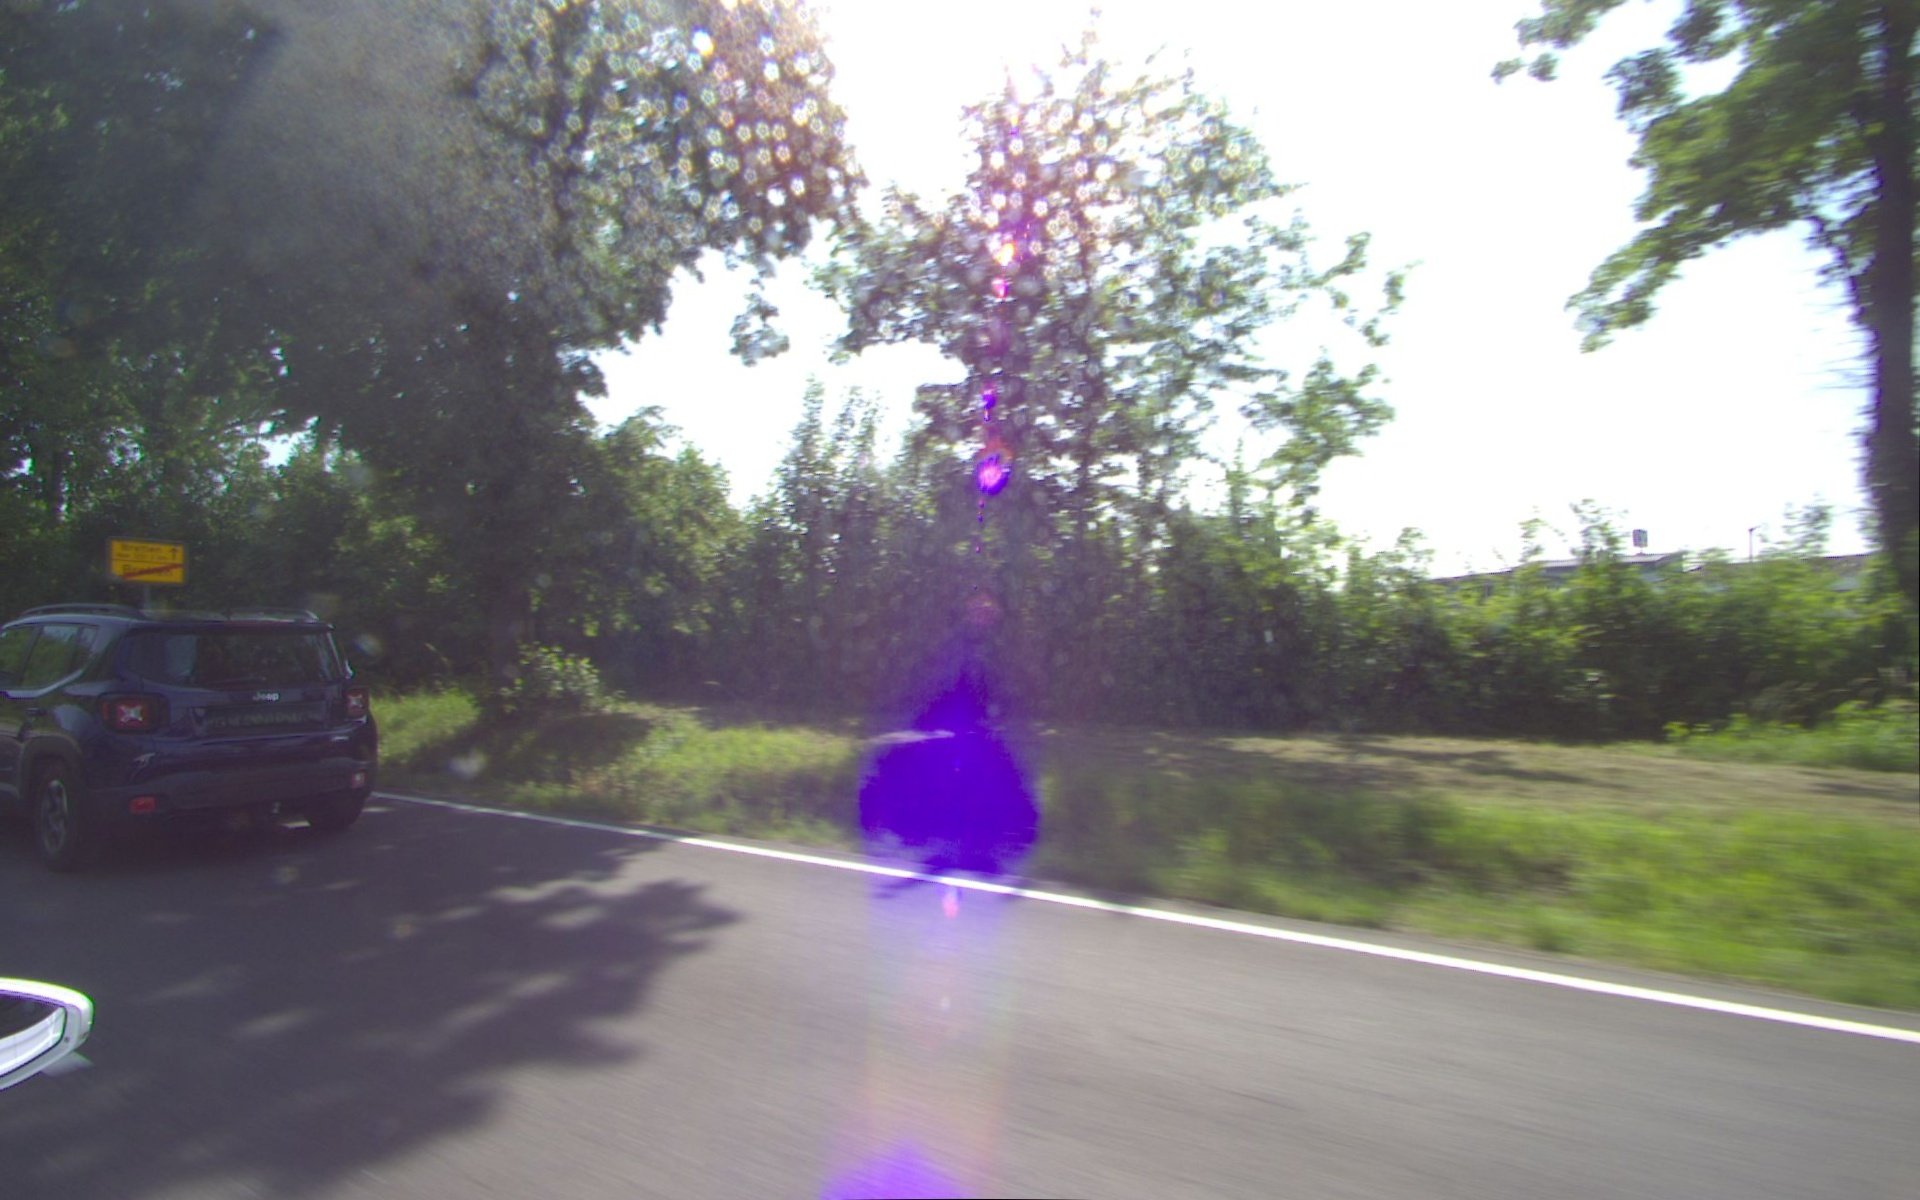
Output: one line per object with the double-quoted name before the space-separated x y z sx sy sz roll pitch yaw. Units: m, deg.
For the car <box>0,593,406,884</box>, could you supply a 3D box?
"car" -6.176 0.846 7.555 3.942 1.676 1.767 -1 -1 31
